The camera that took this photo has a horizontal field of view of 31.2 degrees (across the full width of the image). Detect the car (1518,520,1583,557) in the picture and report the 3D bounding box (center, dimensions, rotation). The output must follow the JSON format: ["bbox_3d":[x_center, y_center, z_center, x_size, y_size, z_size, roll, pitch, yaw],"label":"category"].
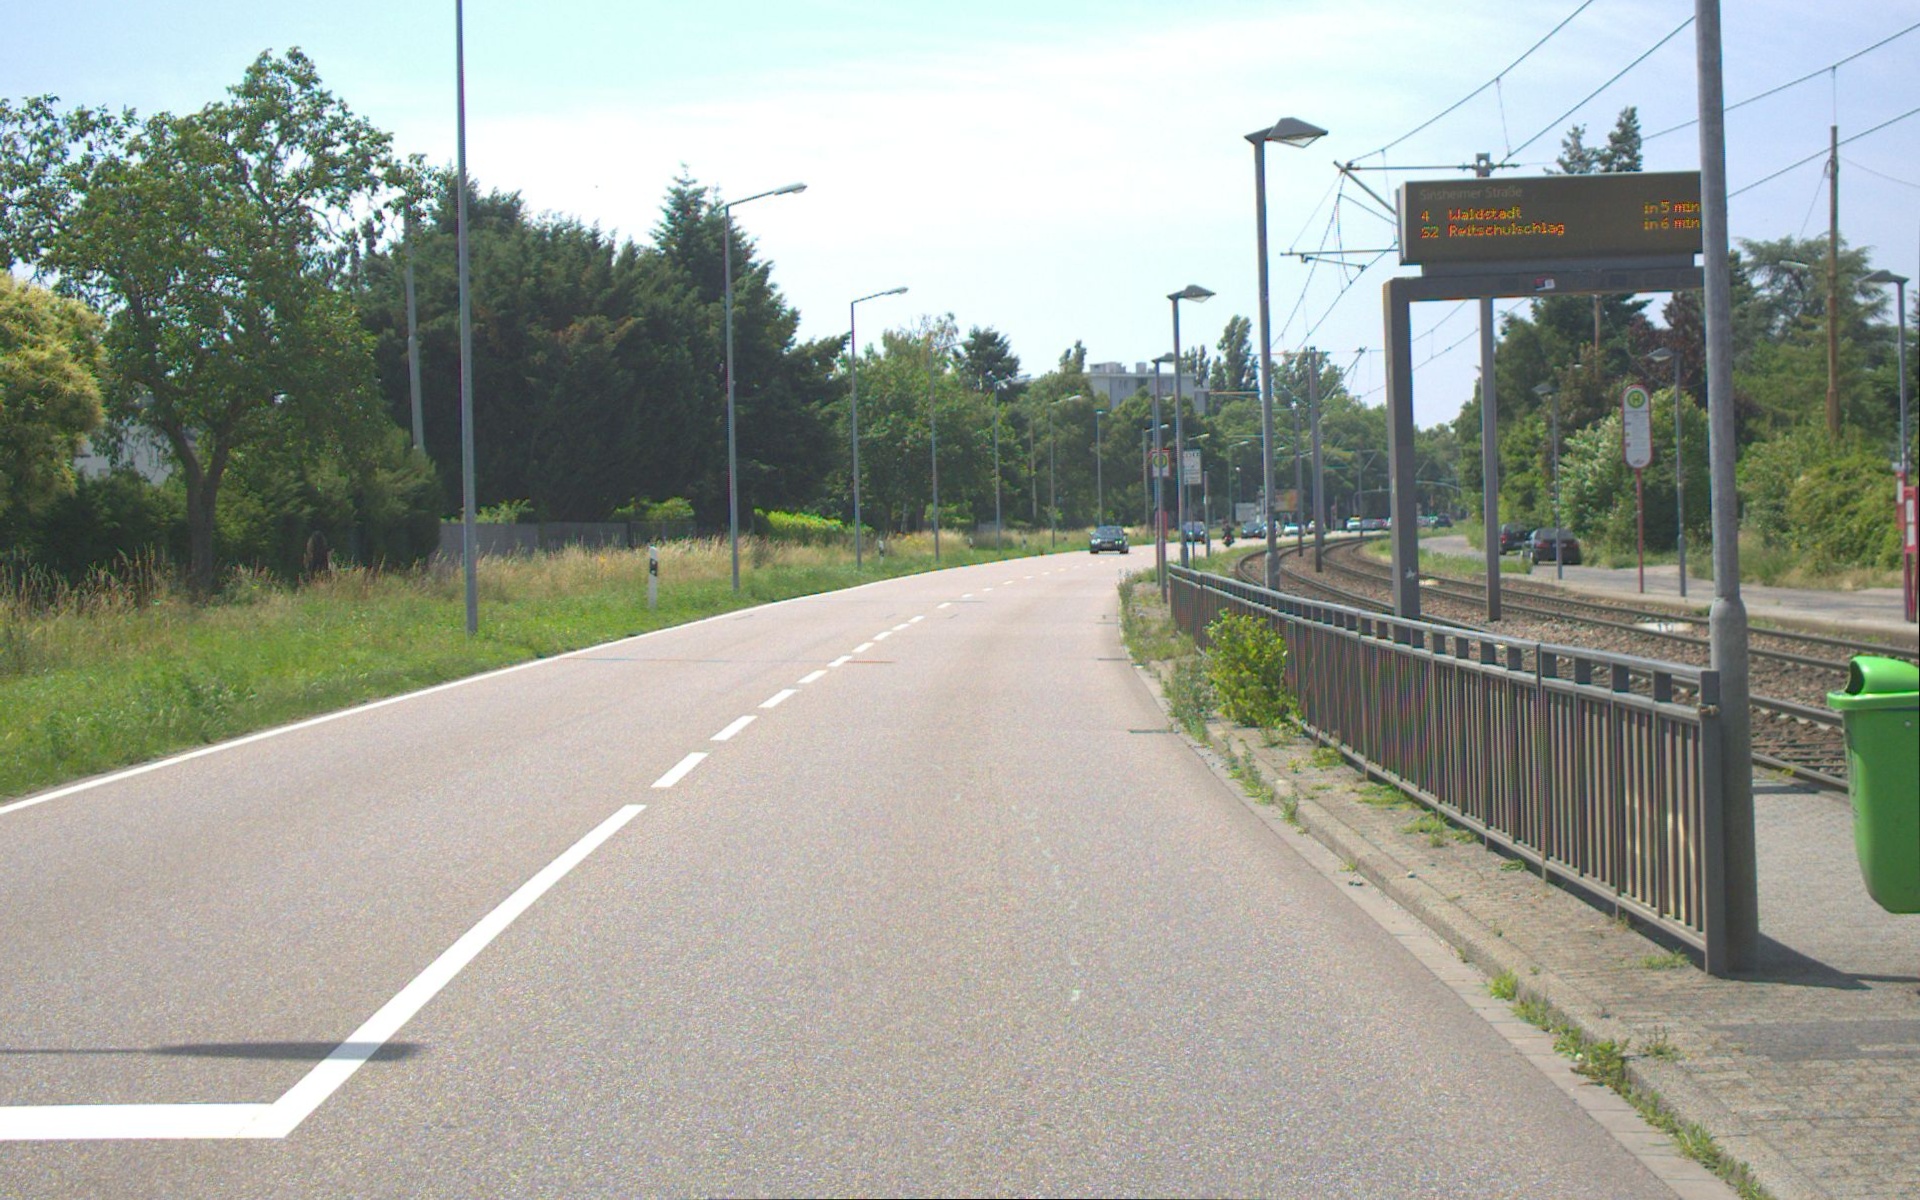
[{"bbox_3d":[21.651,-2.265,126.227,1.861,1.325,4.515,0,1,3],"label":"car"}]

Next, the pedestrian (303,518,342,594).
[{"bbox_3d":[-12.359,-0.852,66.678,0.609,1.472,0.633,0,1,4],"label":"pedestrian"}]

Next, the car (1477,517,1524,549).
[{"bbox_3d":[25.025,-3.116,159.186,1.914,1.465,3.999,0,1,6],"label":"car"}]

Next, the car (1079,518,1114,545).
[{"bbox_3d":[7.278,-3.645,182.809,1.706,1.399,4.707,0,1,4],"label":"car"}]
